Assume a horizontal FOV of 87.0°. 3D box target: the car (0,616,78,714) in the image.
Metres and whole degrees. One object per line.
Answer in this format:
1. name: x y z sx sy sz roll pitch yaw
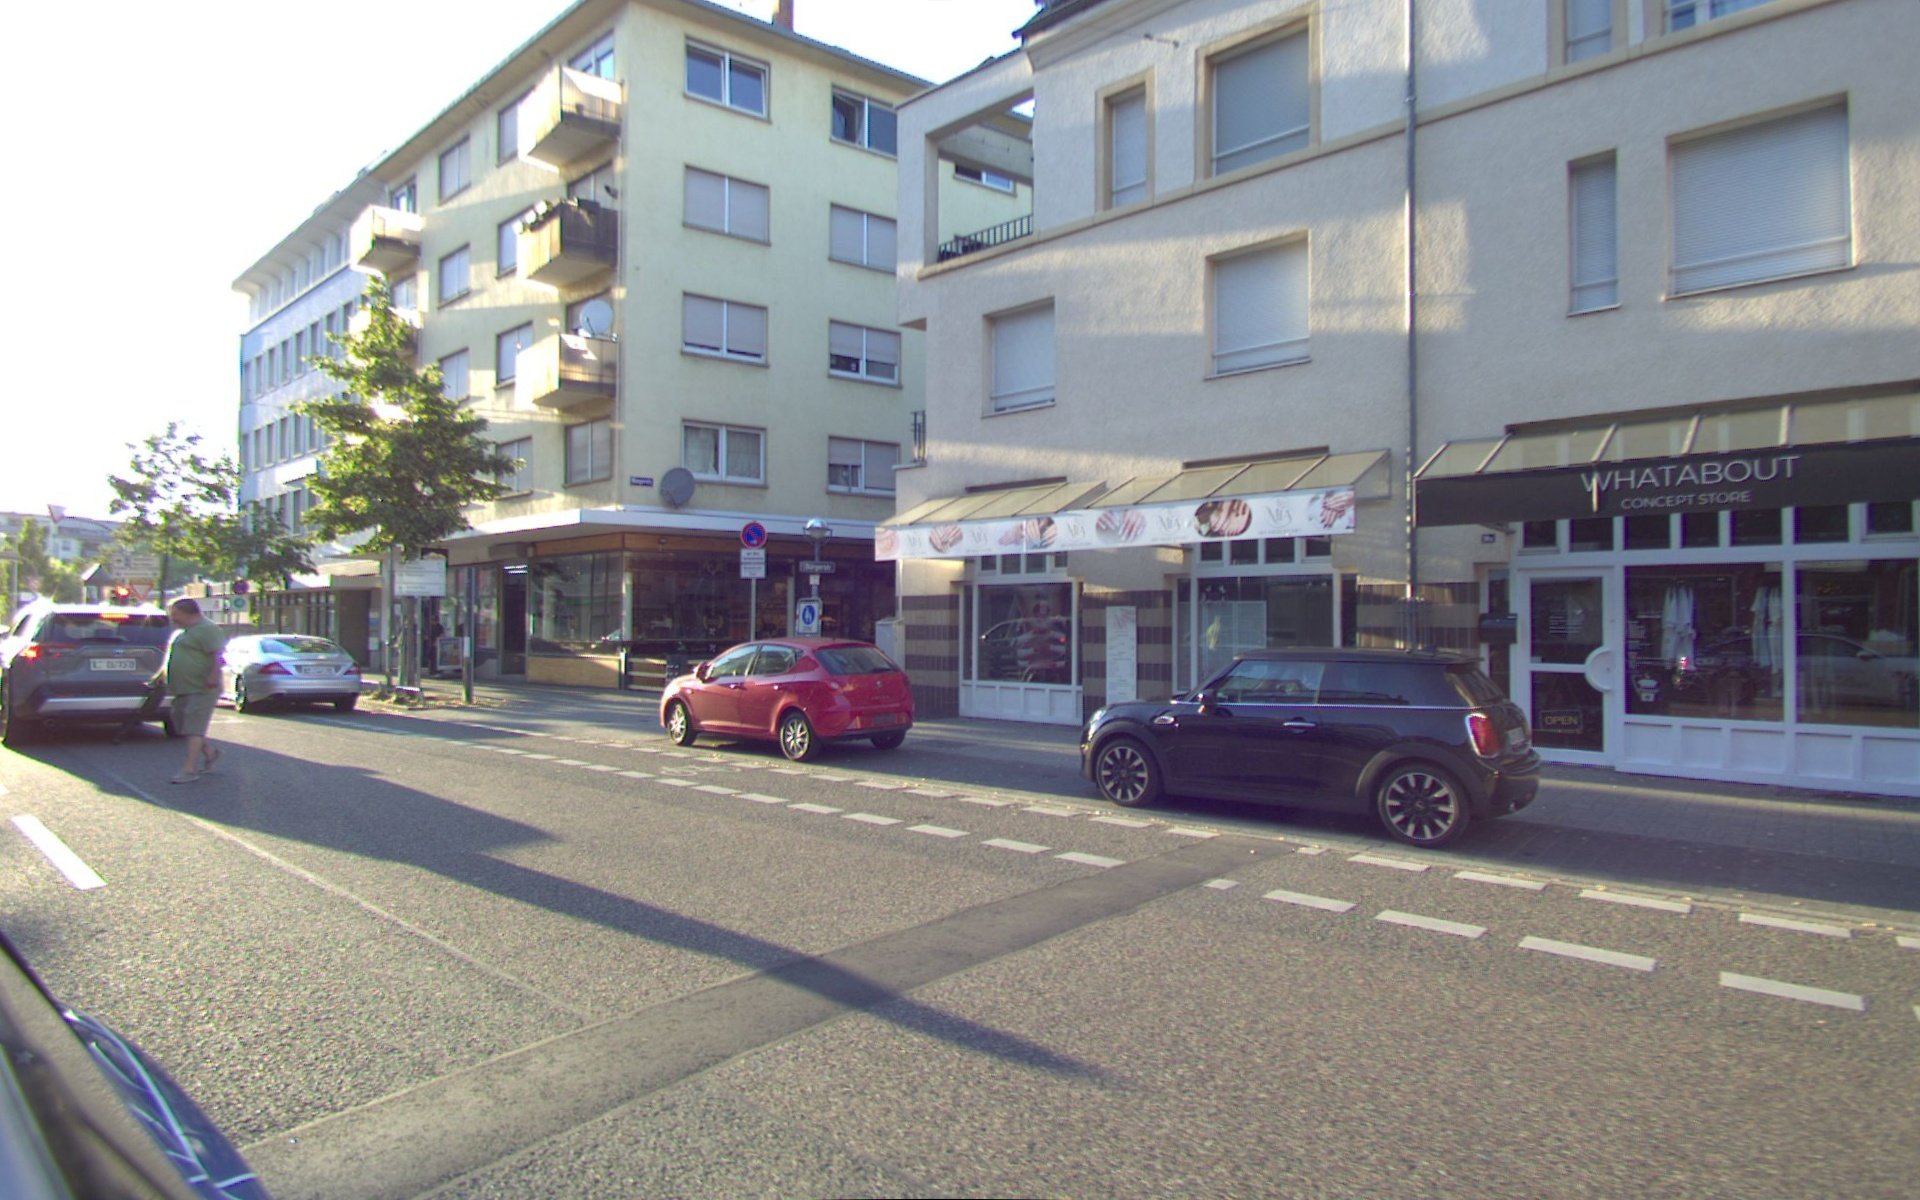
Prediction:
1. car: -17.045 1.073 17.821 4.464 1.561 1.705 0 -2 42

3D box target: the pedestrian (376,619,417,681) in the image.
1. pedestrian: -15.654 1.377 28.147 0.758 1.689 0.744 0 -1 -6

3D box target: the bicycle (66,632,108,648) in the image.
1. bicycle: -62.858 2.893 72.896 0.779 1.096 2.152 -1 -2 41

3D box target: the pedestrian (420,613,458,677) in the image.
1. pedestrian: -15.091 1.307 29.314 0.813 1.833 0.732 -3 -3 43

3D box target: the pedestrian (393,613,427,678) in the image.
1. pedestrian: -16.133 1.328 29.677 0.758 1.862 0.744 1 -3 -39

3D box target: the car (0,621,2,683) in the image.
1. car: -26.668 1.359 26.355 4.505 1.559 1.938 -2 -3 39

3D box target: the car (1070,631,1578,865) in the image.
1. car: 2.949 1.040 8.624 3.724 1.464 1.693 0 0 42

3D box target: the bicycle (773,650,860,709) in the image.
1. bicycle: -2.752 1.491 19.274 2.016 0.999 0.484 0 0 43

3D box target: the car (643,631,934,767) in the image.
1. car: -2.320 1.162 13.142 3.882 1.413 1.643 0 0 41

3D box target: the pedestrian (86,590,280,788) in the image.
1. pedestrian: -7.113 0.795 9.322 0.980 1.689 0.905 2 -3 5

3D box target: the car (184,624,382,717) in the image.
1. car: -12.896 1.276 19.167 4.508 1.523 1.972 0 -4 41

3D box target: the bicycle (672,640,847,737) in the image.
1. bicycle: -3.225 1.328 15.993 3.124 1.310 0.949 0 0 40

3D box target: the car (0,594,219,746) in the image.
1. car: -11.568 0.810 13.357 4.737 1.657 1.920 0 -2 42

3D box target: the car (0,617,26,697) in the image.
1. car: -22.032 1.184 22.108 4.614 1.657 1.925 0 -2 42
